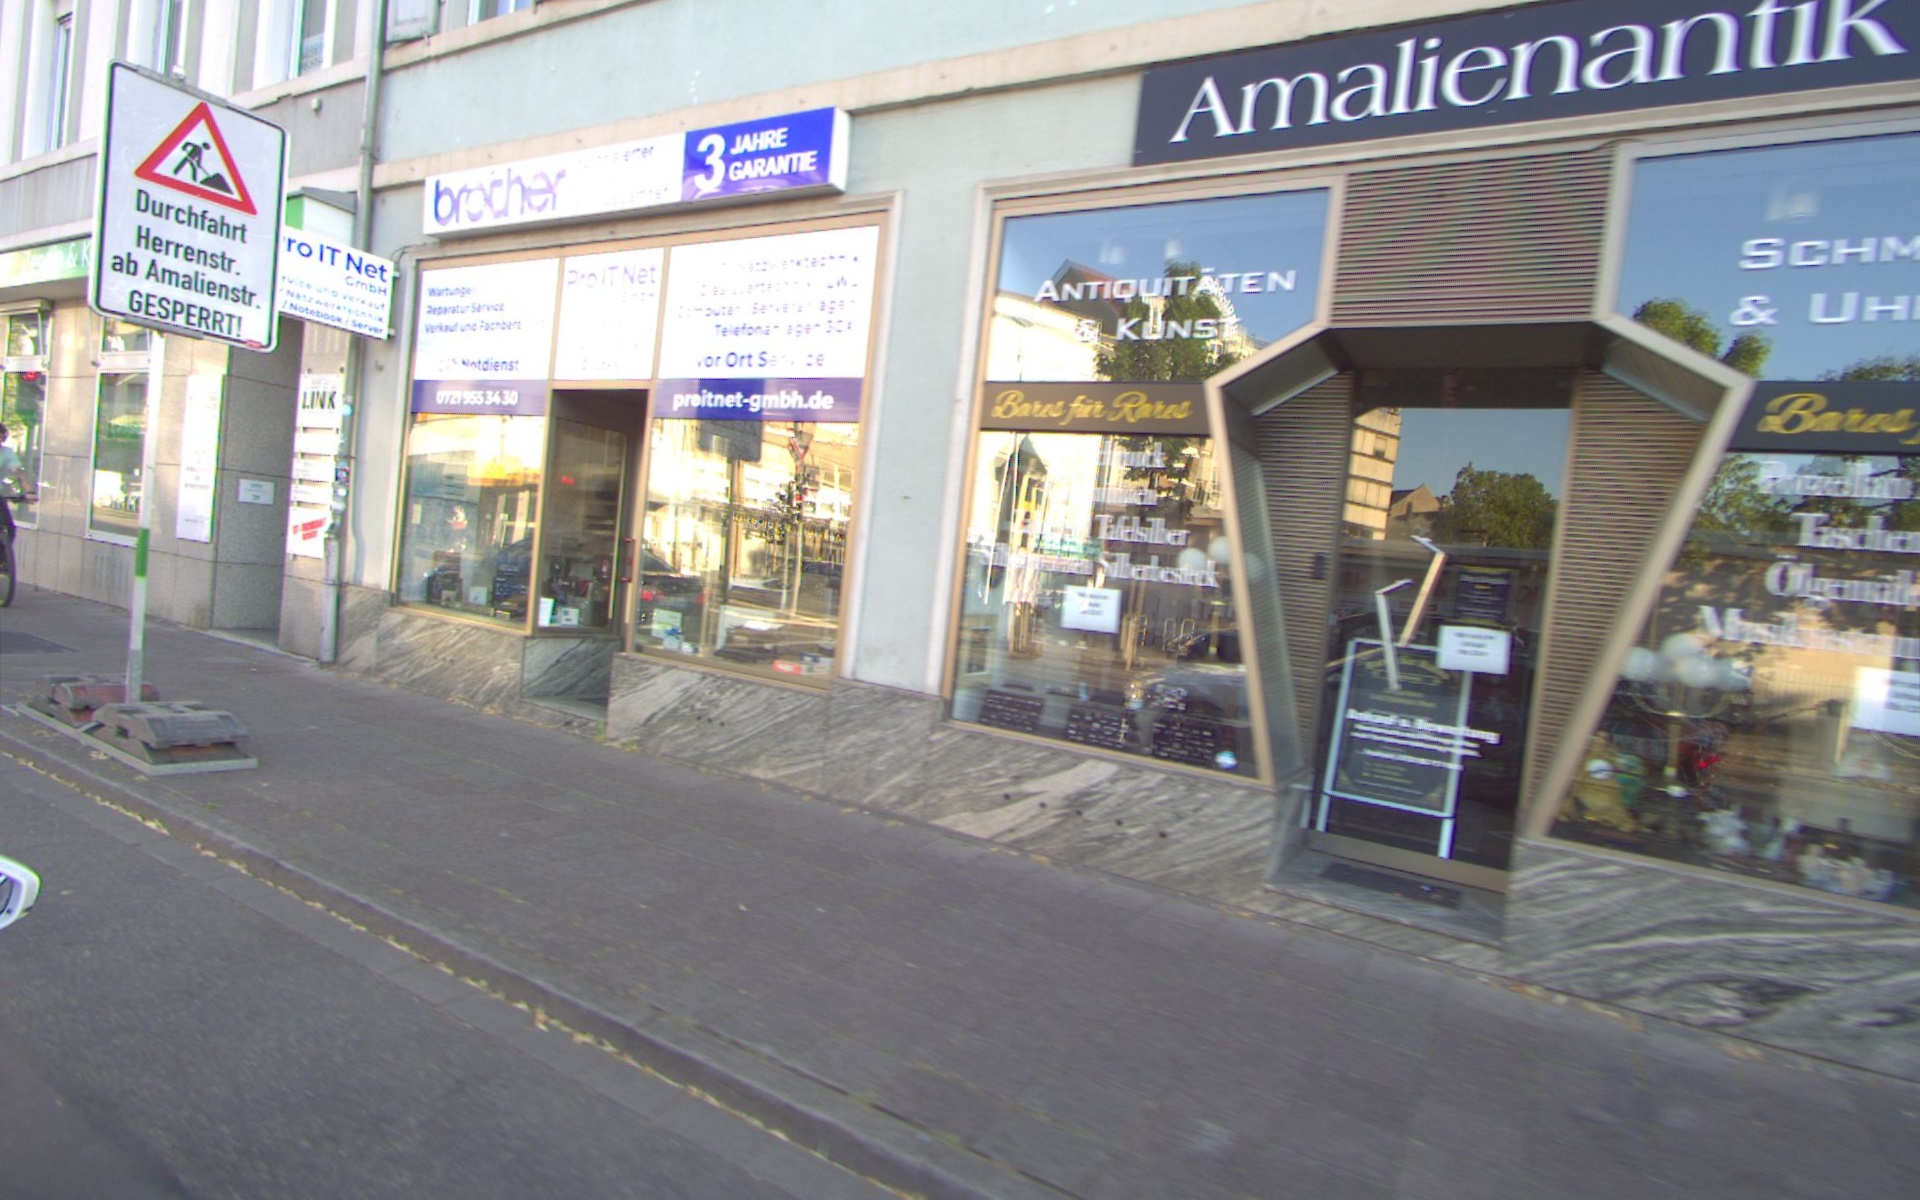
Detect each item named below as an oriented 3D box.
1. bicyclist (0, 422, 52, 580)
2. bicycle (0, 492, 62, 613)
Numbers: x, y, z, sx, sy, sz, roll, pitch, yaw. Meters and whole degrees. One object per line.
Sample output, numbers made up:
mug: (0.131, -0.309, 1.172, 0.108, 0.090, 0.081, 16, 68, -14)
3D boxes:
bicyclist: (-9.808, -1.022, 10.116, 0.885, 1.527, 0.722, 7, 2, 32)
bicycle: (-9.909, -0.544, 10.152, 1.864, 1.121, 0.690, 7, 2, 31)
